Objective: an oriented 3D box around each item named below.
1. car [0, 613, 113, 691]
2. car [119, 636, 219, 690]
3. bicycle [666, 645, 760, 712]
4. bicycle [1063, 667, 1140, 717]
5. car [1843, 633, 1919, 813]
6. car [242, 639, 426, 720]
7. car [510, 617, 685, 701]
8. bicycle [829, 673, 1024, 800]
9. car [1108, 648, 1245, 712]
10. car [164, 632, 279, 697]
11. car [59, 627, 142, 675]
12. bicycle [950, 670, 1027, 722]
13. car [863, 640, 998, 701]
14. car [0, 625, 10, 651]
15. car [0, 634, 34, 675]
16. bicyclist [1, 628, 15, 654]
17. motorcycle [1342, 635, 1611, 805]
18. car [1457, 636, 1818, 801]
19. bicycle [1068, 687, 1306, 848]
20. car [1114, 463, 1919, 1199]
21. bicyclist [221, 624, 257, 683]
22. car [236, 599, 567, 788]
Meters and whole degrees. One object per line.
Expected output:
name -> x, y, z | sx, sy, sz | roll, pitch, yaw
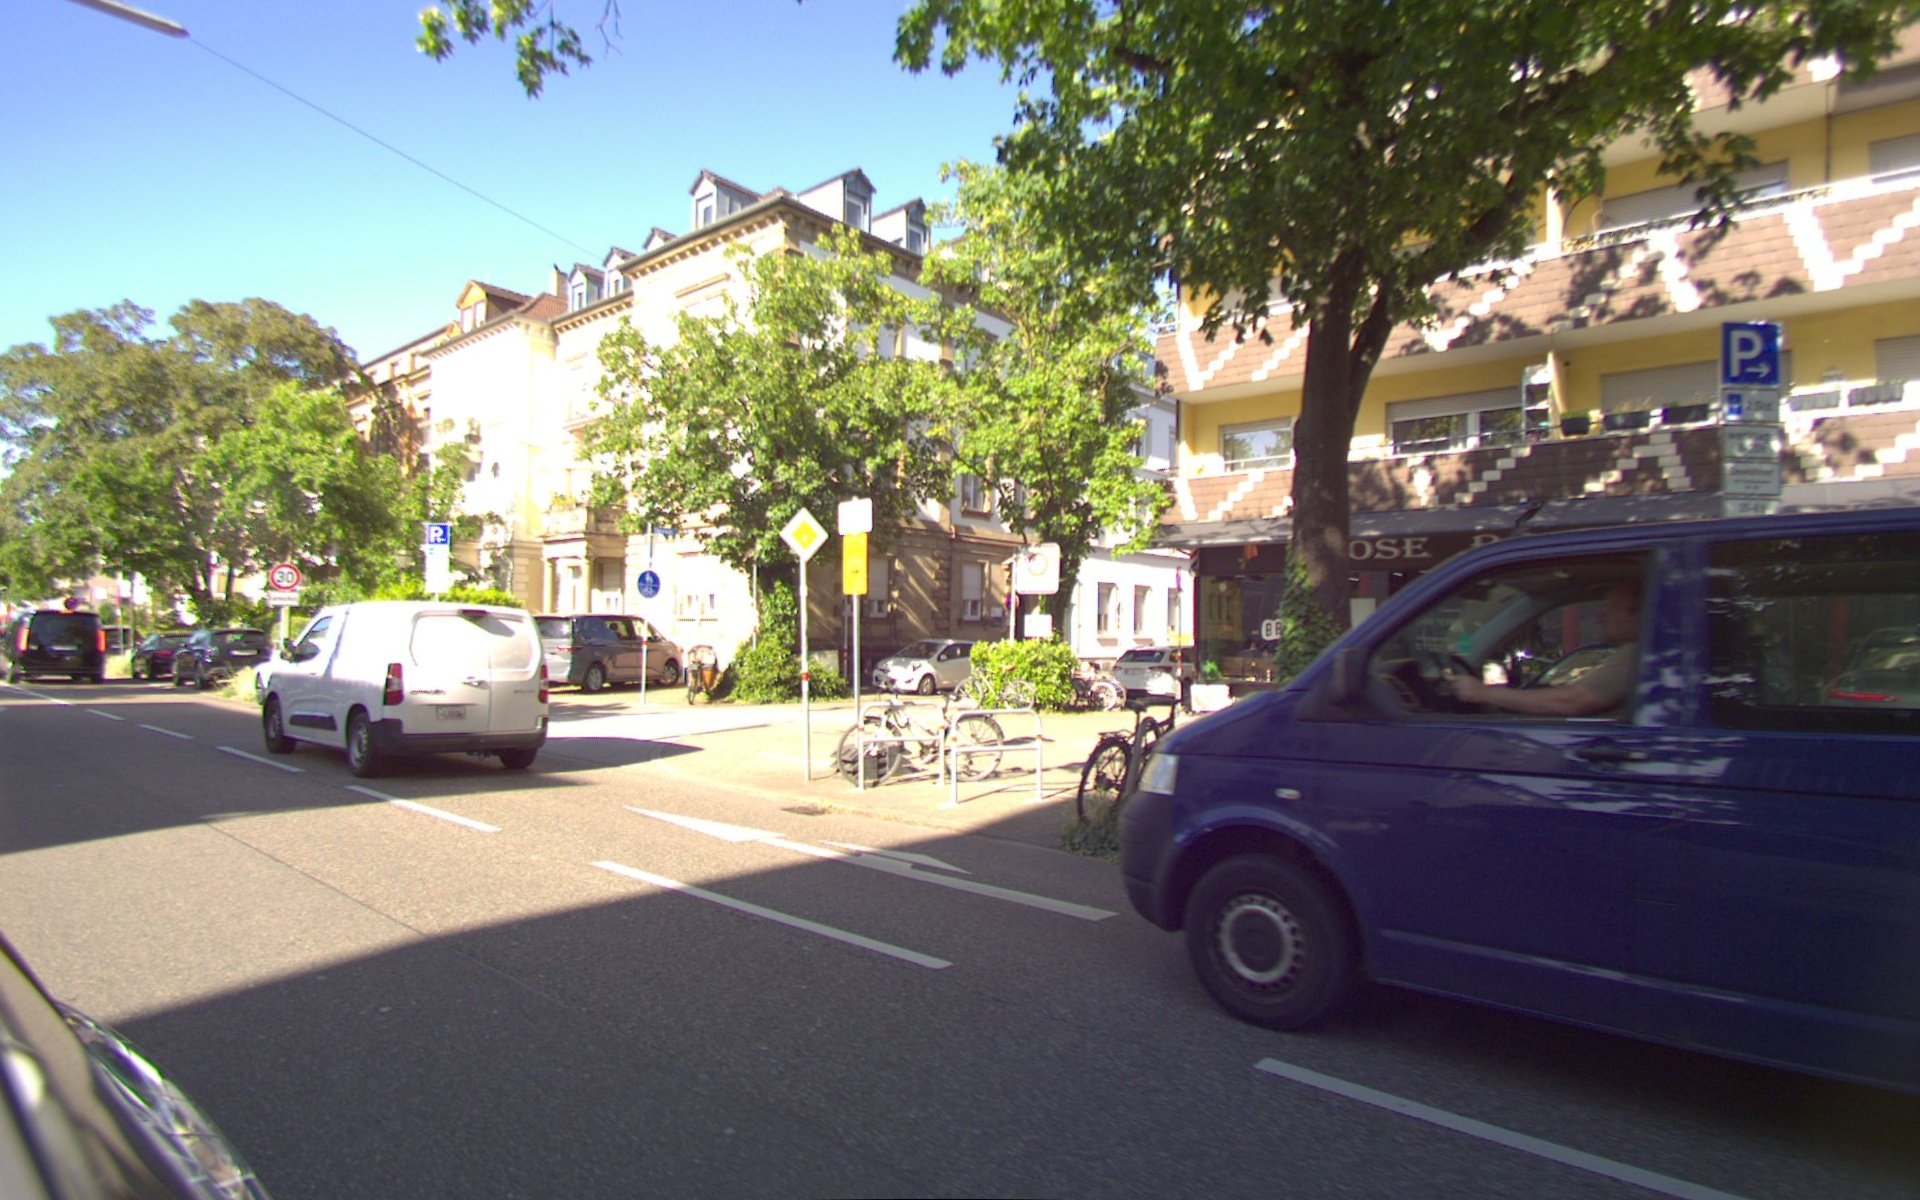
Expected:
car -> -25.256, 1.425, 27.877 | 5.174, 1.967, 1.995 | -2, -5, 40
car -> -23.632, 1.823, 30.171 | 4.088, 1.427, 1.620 | -2, -1, 41
bicycle -> -5.426, 1.689, 22.506 | 0.941, 1.272, 3.168 | 2, -1, 7
bicycle -> 2.970, 1.923, 21.375 | 0.398, 0.988, 1.760 | 3, -5, -43
car -> 9.799, 1.054, 9.458 | 3.937, 1.472, 1.735 | 1, -2, -41
car -> -12.695, 1.505, 20.391 | 4.799, 1.400, 1.814 | -2, -2, 41
car -> -8.828, 1.401, 25.067 | 1.864, 1.893, 4.303 | -1, -2, 18
bicycle -> -0.327, 1.337, 10.192 | 1.903, 1.144, 0.464 | 0, -2, -21
car -> 5.468, 1.945, 25.260 | 1.646, 1.453, 3.945 | -3, -4, 41
car -> -19.461, 1.644, 26.613 | 4.007, 1.566, 1.660 | -2, -2, 42
car -> -31.018, 1.790, 36.476 | 4.345, 1.600, 1.608 | -2, -1, 40
bicycle -> 0.543, 1.854, 19.844 | 0.398, 0.967, 1.760 | 3, -5, -43
car -> -0.759, 1.920, 28.126 | 1.646, 1.499, 3.743 | 1, -2, 41
car -> -58.468, 2.285, 61.027 | 3.684, 1.501, 1.386 | -2, -2, 42
car -> -35.853, 1.990, 37.510 | 4.170, 1.465, 1.674 | -2, -5, 40
bicyclist -> -66.391, 2.875, 70.578 | 0.691, 1.767, 0.602 | -2, -3, 41
motorcycle -> 3.798, 0.832, 7.575 | 0.455, 1.134, 1.719 | 1, -2, -41
car -> 7.462, 1.153, 11.089 | 3.932, 1.467, 1.738 | 0, -2, -31
bicycle -> 1.847, 1.291, 8.135 | 1.994, 1.100, 0.464 | 0, -2, -26
car -> 3.009, 0.665, 3.353 | 4.709, 1.925, 1.784 | -2, -5, 41
bicyclist -> -23.123, 1.706, 32.442 | 1.054, 1.838, 0.651 | -2, -3, 41
car -> -6.530, 0.972, 11.618 | 4.490, 1.756, 1.797 | -1, -5, 41
